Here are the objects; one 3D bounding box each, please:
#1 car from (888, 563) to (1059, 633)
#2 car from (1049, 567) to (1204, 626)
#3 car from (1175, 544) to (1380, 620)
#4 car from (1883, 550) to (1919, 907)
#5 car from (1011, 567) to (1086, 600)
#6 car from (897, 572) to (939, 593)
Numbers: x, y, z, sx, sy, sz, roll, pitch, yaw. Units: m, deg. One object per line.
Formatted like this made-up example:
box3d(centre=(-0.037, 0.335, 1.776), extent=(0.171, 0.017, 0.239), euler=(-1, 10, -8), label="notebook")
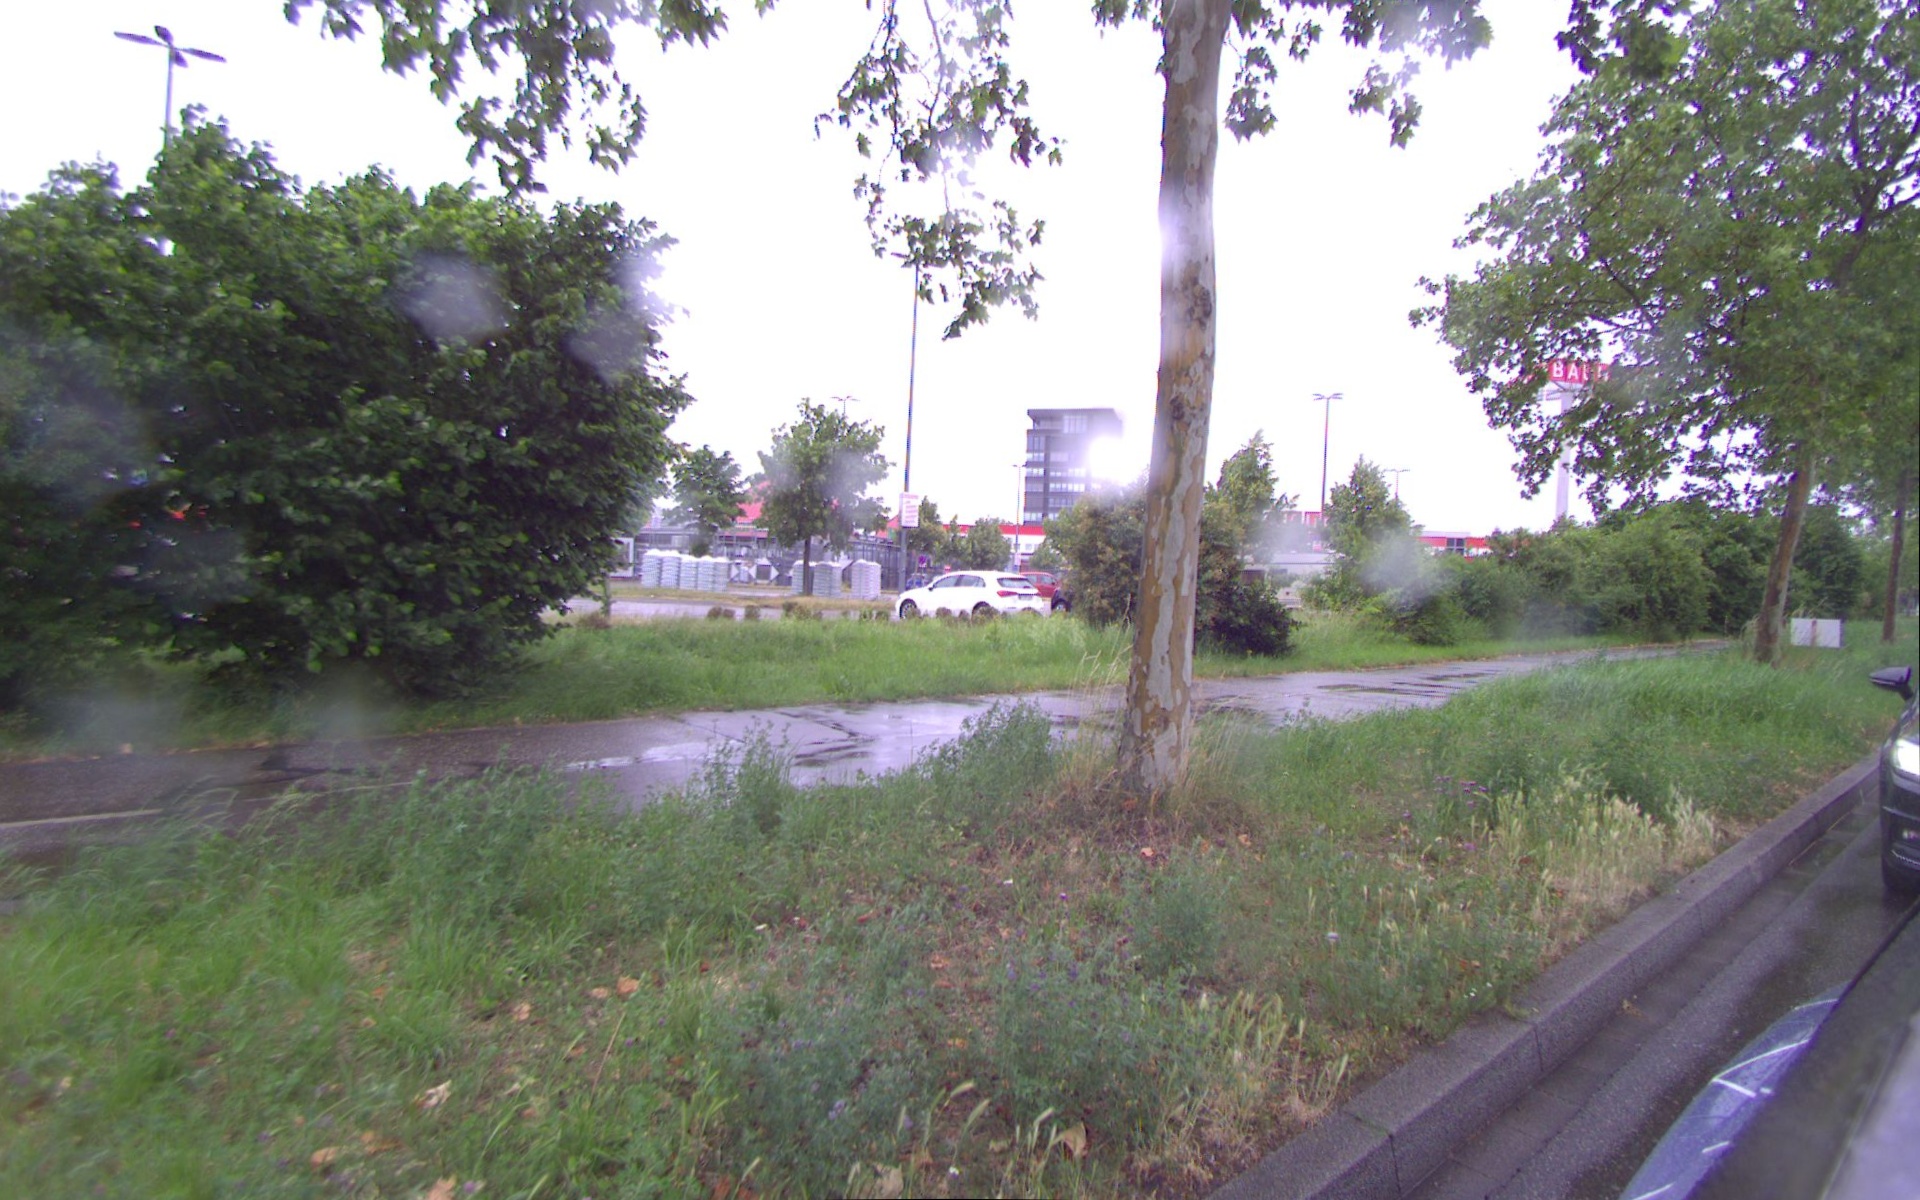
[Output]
box3d(centre=(0.278, -0.106, 25.923), extent=(1.899, 1.571, 4.262), euler=(0, 2, -45), label="car")
box3d(centre=(4.920, -0.146, 30.277), extent=(1.899, 1.571, 4.262), euler=(0, 2, -45), label="car")
box3d(centre=(10.946, -0.697, 35.265), extent=(6.399, 2.392, 2.357), euler=(3, 2, 41), label="car")
box3d(centre=(6.545, 0.582, 5.597), extent=(4.548, 1.625, 1.768), euler=(0, 0, -43), label="car")
box3d(centre=(4.900, -0.903, 55.644), extent=(3.937, 1.749, 1.885), euler=(0, 0, 12), label="car")
box3d(centre=(-3.235, -1.392, 79.138), extent=(1.905, 1.571, 4.249), euler=(2, 2, 18), label="car")
